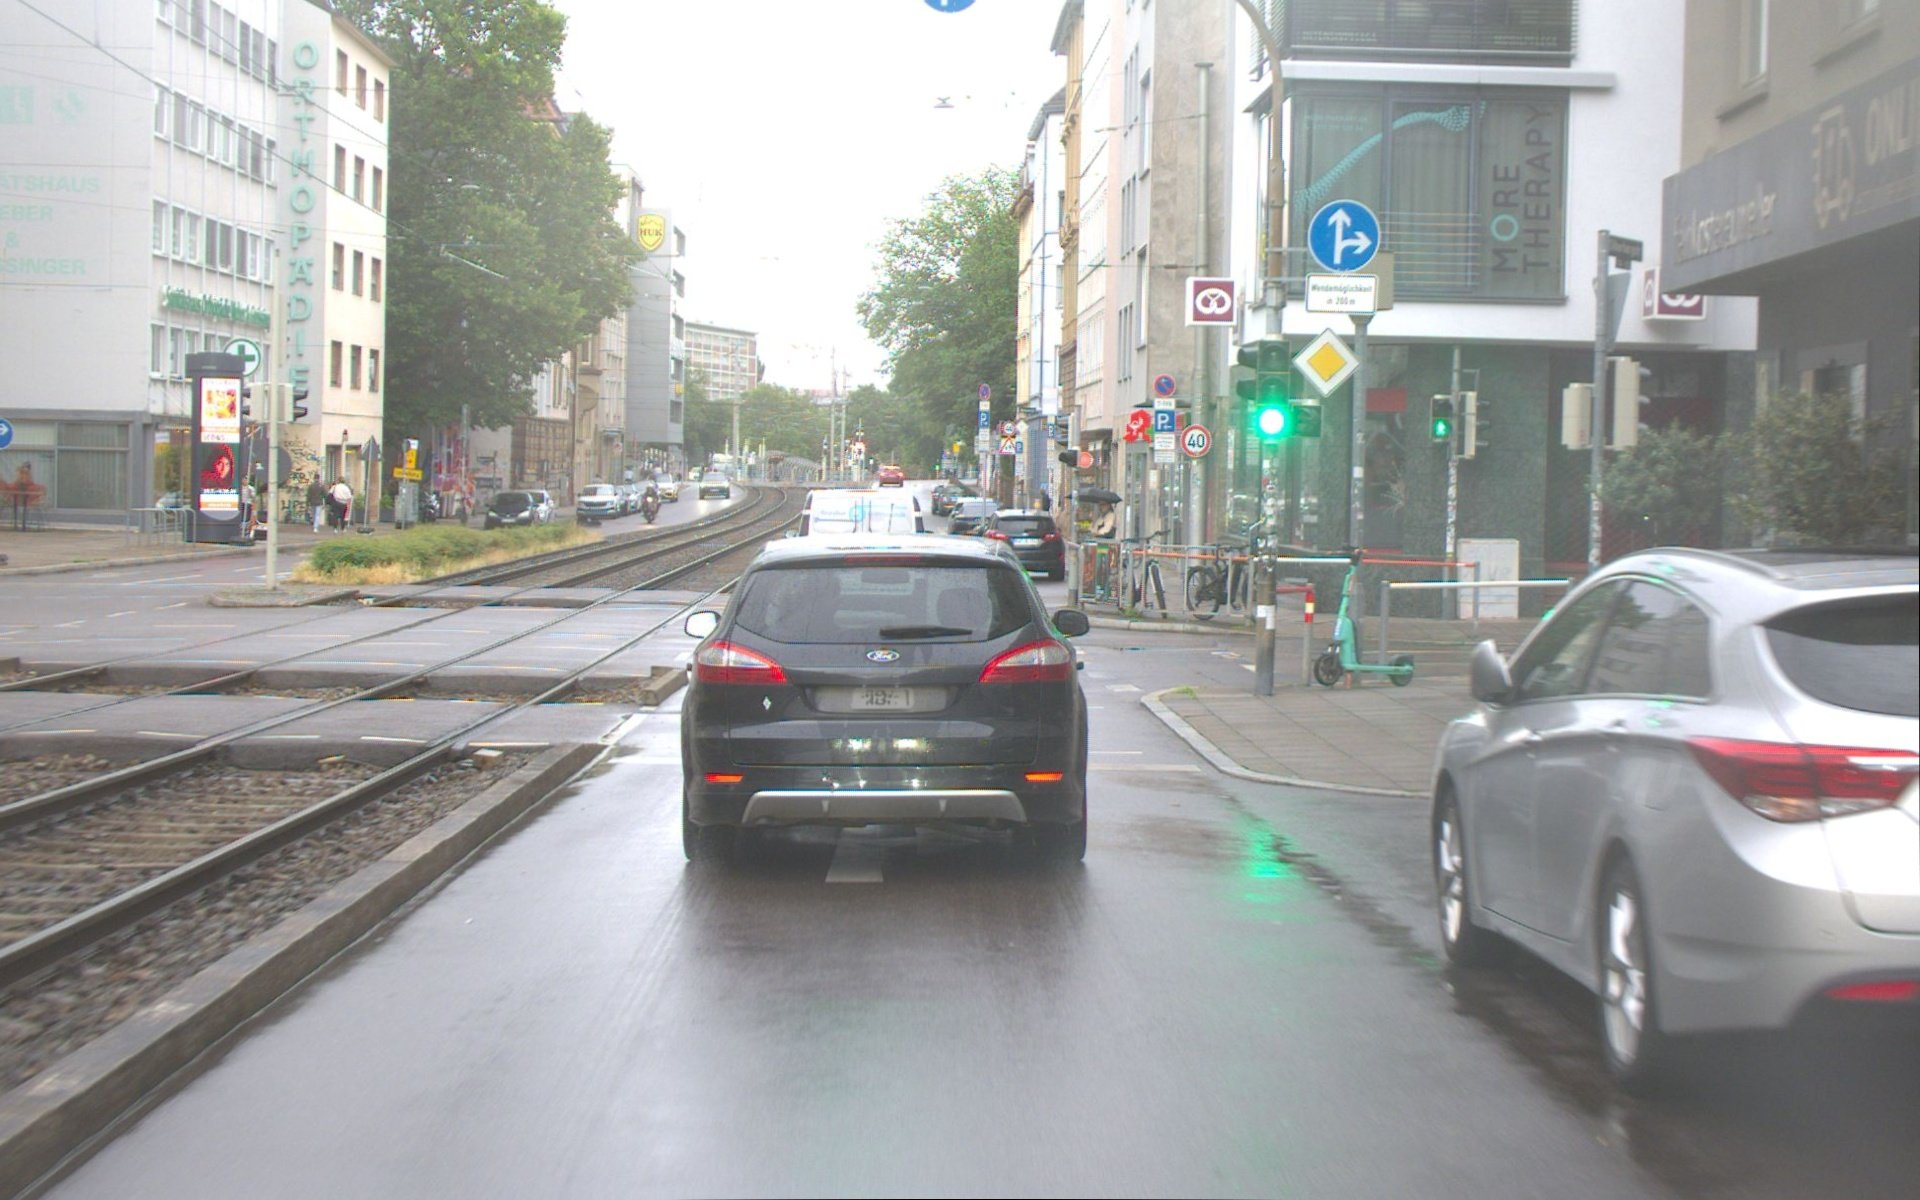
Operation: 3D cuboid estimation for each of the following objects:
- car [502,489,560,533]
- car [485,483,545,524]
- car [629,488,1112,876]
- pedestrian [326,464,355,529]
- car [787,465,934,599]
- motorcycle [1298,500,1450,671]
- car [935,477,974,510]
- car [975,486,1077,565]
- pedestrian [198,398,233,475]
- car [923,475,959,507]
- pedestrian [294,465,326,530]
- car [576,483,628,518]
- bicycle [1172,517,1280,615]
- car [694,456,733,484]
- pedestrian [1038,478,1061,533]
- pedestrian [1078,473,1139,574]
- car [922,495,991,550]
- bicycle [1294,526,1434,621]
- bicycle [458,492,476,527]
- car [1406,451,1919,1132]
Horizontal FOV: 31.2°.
[{"bbox_3d":[-16.314,-3.399,131.014,1.721,1.565,4.220,2,2,-1],"label":"car"},{"bbox_3d":[-16.295,-3.553,126.060,1.744,1.463,4.220,0,2,-1],"label":"car"},{"bbox_3d":[-0.394,0.302,16.481,1.993,1.588,4.272,1,1,-1],"label":"car"},{"bbox_3d":[-18.346,-3.056,101.870,0.678,1.889,0.743,2,1,-1],"label":"pedestrian"},{"bbox_3d":[-1.389,-0.981,49.440,1.993,1.810,4.272,1,1,-1],"label":"car"},{"bbox_3d":[3.612,-0.130,29.953,1.129,1.456,0.684,0,2,-37],"label":"motorcycle"},{"bbox_3d":[-0.258,-5.192,167.210,1.738,1.484,4.001,2,3,-2],"label":"car"},{"bbox_3d":[1.361,-1.571,72.358,1.993,1.588,4.272,1,1,-1],"label":"car"},{"bbox_3d":[-18.739,-4.105,86.504,0.727,1.889,0.689,2,1,-5],"label":"pedestrian"},{"bbox_3d":[-0.943,-5.444,171.666,1.642,1.510,4.040,2,3,-2],"label":"car"},{"bbox_3d":[-19.254,-3.045,101.895,0.727,1.889,0.983,2,1,-1],"label":"pedestrian"},{"bbox_3d":[-16.582,-4.628,159.402,1.993,1.514,4.436,2,2,-1],"label":"car"},{"bbox_3d":[3.576,-0.470,46.422,0.497,1.254,1.957,1,2,-25],"label":"bicycle"},{"bbox_3d":[-14.892,-7.844,207.781,1.993,1.514,4.444,2,0,-1],"label":"car"},{"bbox_3d":[3.313,-3.513,127.398,0.736,2.006,0.821,2,2,-2],"label":"pedestrian"},{"bbox_3d":[2.354,-1.216,54.534,0.659,1.577,0.780,1,1,-23],"label":"pedestrian"},{"bbox_3d":[-0.126,-2.325,103.832,1.993,1.588,4.572,1,1,-1],"label":"car"},{"bbox_3d":[5.234,-0.352,44.633,0.576,1.153,1.956,1,2,-37],"label":"bicycle"},{"bbox_3d":[-17.679,-3.256,123.217,0.590,1.222,2.404,2,1,-8],"label":"bicycle"},{"bbox_3d":[2.689,0.415,10.365,2.024,1.588,4.621,1,1,-1],"label":"car"}]
